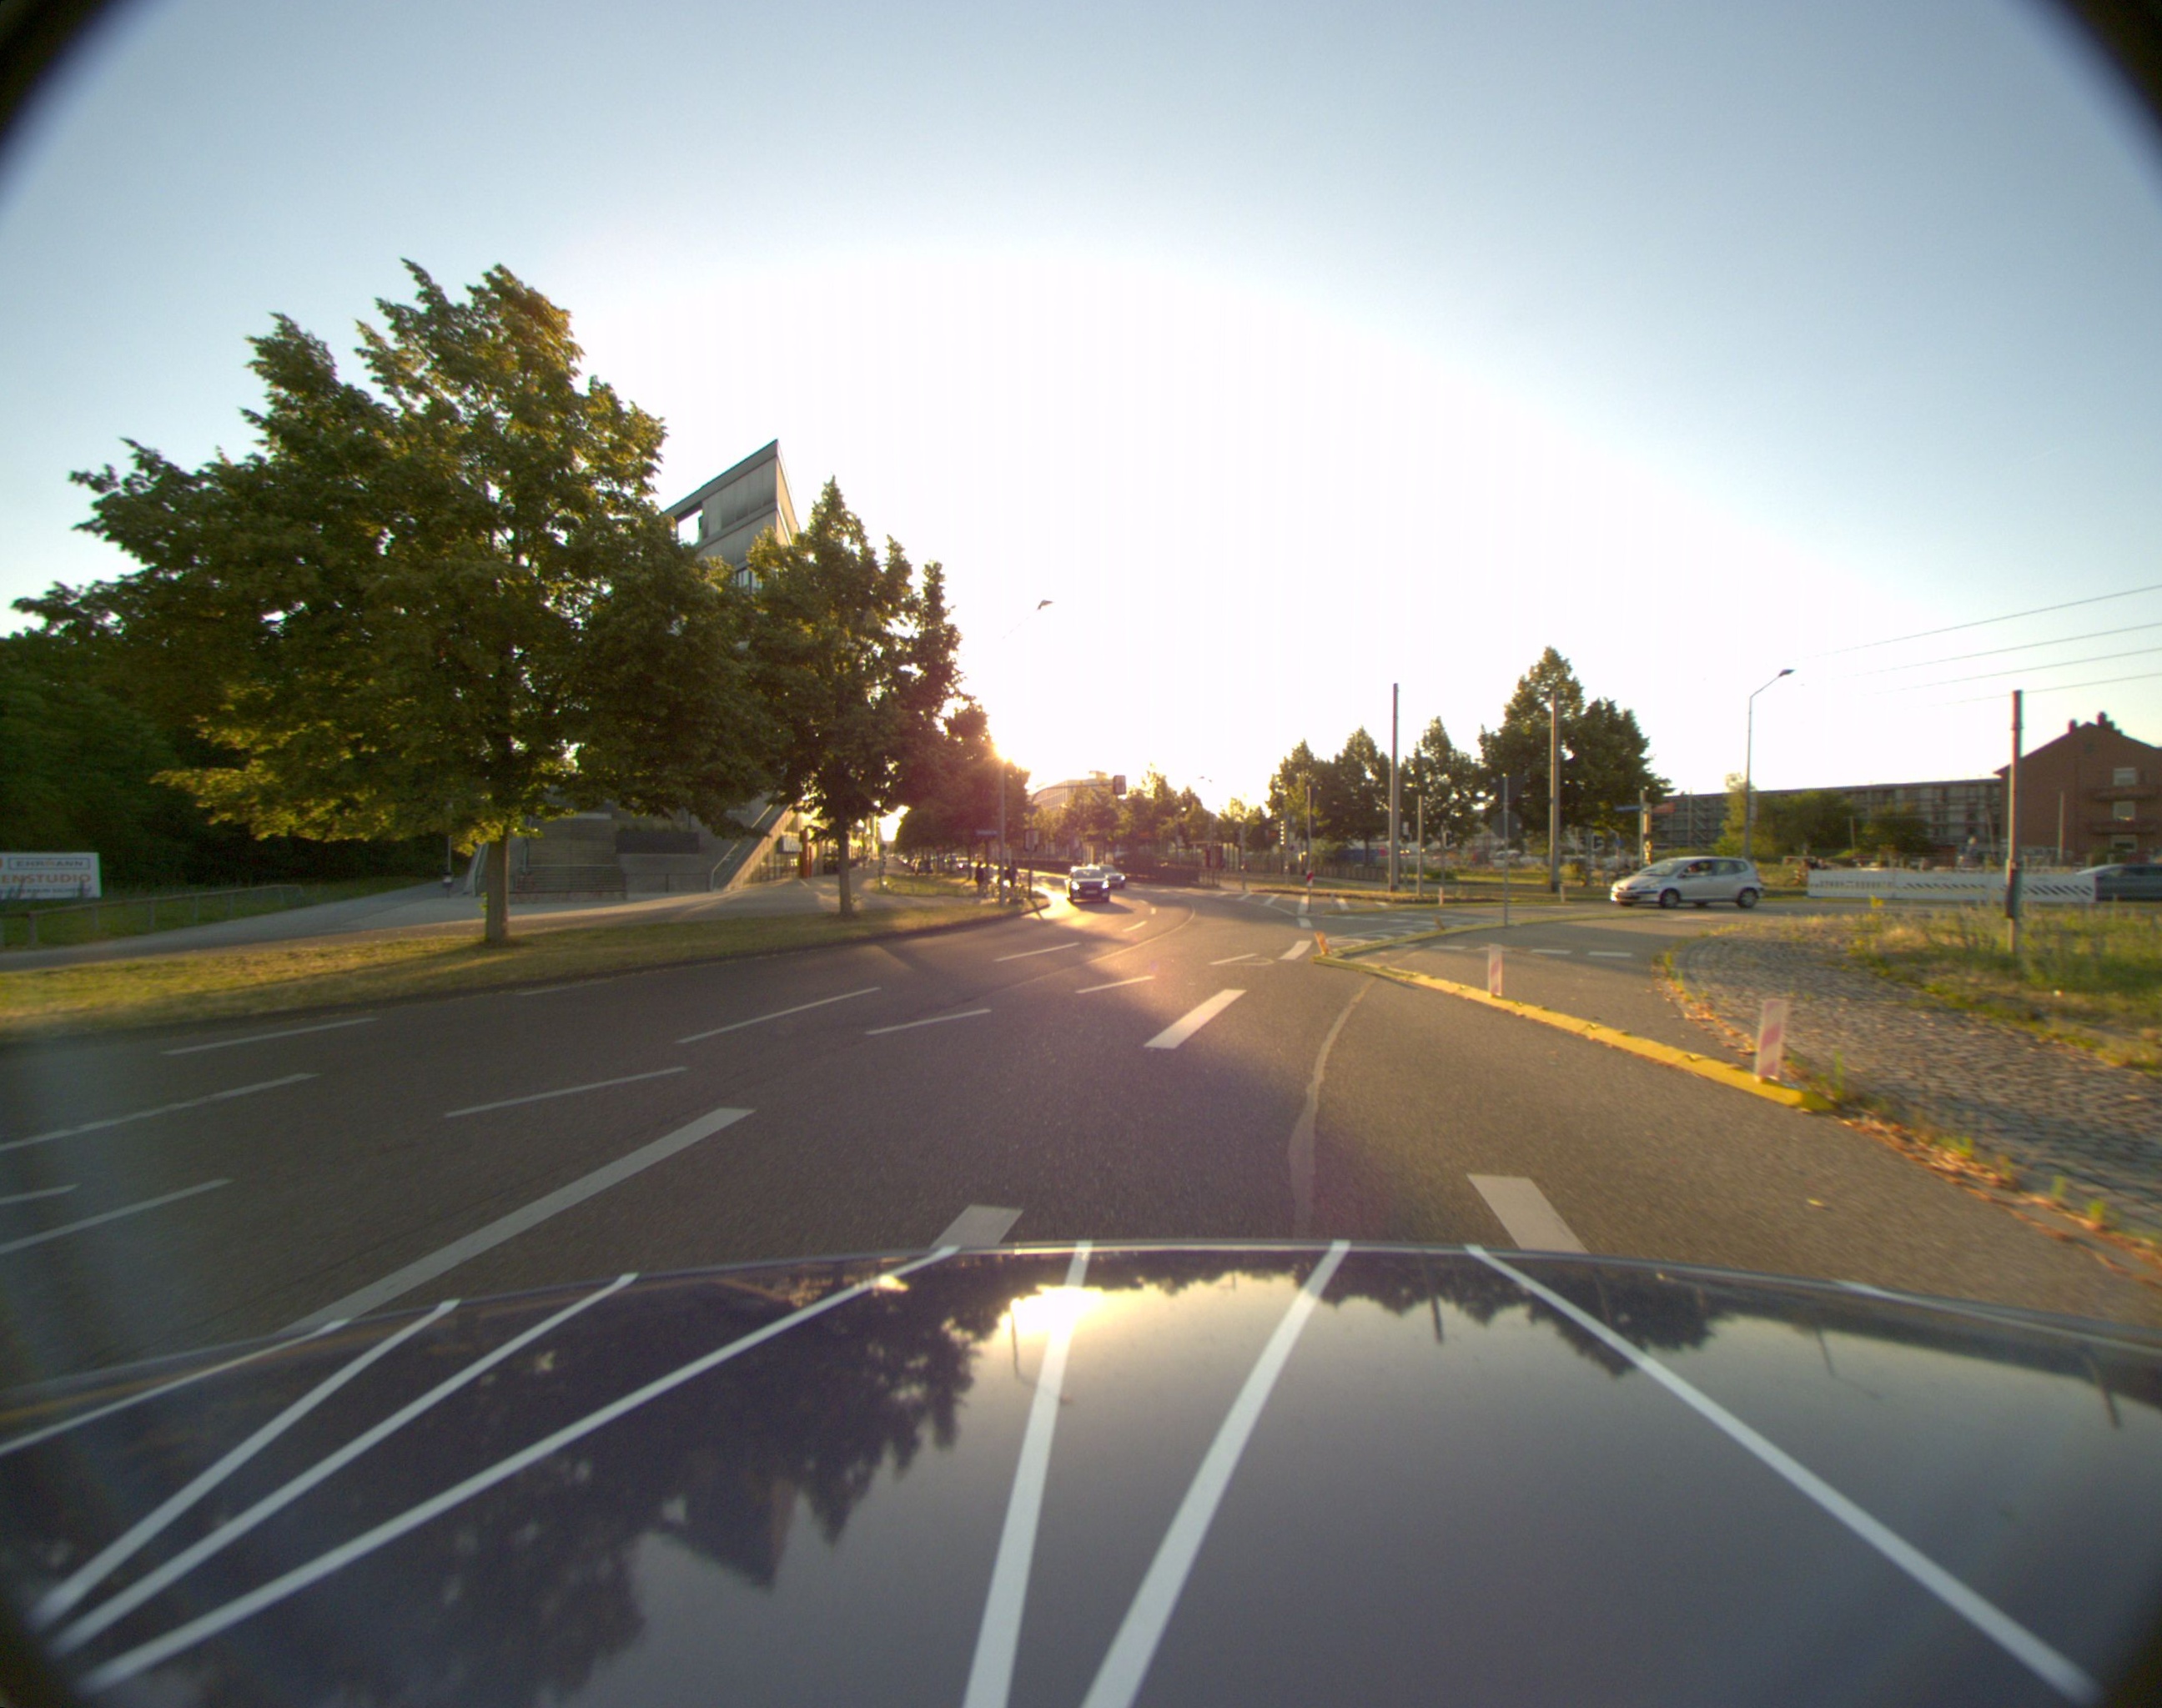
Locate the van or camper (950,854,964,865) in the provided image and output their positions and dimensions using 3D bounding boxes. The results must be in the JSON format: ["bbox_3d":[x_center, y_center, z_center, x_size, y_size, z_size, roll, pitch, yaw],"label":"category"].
[{"bbox_3d":[-24.150,1.026,147.880,2.001,1.946,5.321,0,1,-15],"label":"van or camper"}]

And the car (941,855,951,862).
[{"bbox_3d":[-32.504,1.050,183.231,1.896,1.613,3.994,-1,0,-17],"label":"car"}]

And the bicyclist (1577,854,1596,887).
[{"bbox_3d":[29.036,0.954,43.644,0.678,1.907,0.615,0,0,-11],"label":"bicyclist"}]

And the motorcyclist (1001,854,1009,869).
[{"bbox_3d":[-7.038,0.691,70.210,0.637,1.400,0.593,0,1,-16],"label":"motorcyclist"}]

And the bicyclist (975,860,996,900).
[{"bbox_3d":[-3.975,1.082,31.713,0.685,1.638,0.682,-1,0,-23],"label":"bicyclist"}]

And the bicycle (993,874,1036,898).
[{"bbox_3d":[-2.973,1.433,33.962,1.863,1.016,0.437,0,0,-7],"label":"bicycle"}]

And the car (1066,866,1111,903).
[{"bbox_3d":[0.270,1.254,32.705,1.802,1.455,3.999,0,0,-1],"label":"car"}]

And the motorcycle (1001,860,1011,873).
[{"bbox_3d":[-6.932,1.143,69.859,0.558,1.094,2.157,-1,0,-15],"label":"motorcycle"}]

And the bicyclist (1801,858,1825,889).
[{"bbox_3d":[38.359,1.013,39.838,0.796,1.624,0.697,0,0,35],"label":"bicyclist"}]

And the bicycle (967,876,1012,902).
[{"bbox_3d":[-3.797,1.446,31.687,1.866,1.016,0.307,0,0,-24],"label":"bicycle"}]

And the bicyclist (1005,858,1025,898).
[{"bbox_3d":[-2.947,1.043,33.727,0.849,1.745,0.803,0,0,-7],"label":"bicyclist"}]

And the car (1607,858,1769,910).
[{"bbox_3d":[17.959,0.860,22.561,3.710,1.457,1.606,0,0,-6],"label":"car"}]

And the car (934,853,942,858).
[{"bbox_3d":[-38.974,0.479,206.712,1.804,1.455,3.995,0,0,-14],"label":"car"}]

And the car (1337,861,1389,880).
[{"bbox_3d":[21.342,1.229,57.651,1.834,1.324,3.996,0,0,-12],"label":"car"}]

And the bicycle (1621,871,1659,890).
[{"bbox_3d":[30.358,1.450,41.248,1.844,0.975,0.536,0,0,-11],"label":"bicycle"}]

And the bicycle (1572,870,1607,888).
[{"bbox_3d":[29.221,1.431,43.676,1.844,0.975,0.549,0,0,-11],"label":"bicycle"}]

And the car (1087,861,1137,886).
[{"bbox_3d":[1.821,1.157,46.037,1.804,1.414,4.443,0,0,-14],"label":"car"}]

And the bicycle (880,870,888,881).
[{"bbox_3d":[-16.499,1.832,63.763,0.550,0.846,2.642,0,0,-12],"label":"bicycle"}]

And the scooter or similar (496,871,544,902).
[{"bbox_3d":[-22.404,1.285,30.328,1.576,1.213,0.366,0,0,-4],"label":"scooter or similar"}]

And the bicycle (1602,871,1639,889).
[{"bbox_3d":[30.073,1.436,42.334,1.844,0.975,0.549,0,0,-11],"label":"bicycle"}]

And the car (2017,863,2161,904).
[{"bbox_3d":[37.621,1.026,27.375,4.638,1.407,1.935,0,0,40],"label":"car"}]

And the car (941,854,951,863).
[{"bbox_3d":[-30.511,1.010,171.466,1.721,1.827,3.994,-1,0,-18],"label":"car"}]

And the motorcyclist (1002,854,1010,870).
[{"bbox_3d":[-6.852,0.732,69.579,0.637,1.408,0.714,0,1,-16],"label":"motorcyclist"}]

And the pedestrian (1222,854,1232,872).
[{"bbox_3d":[13.344,0.836,69.471,0.709,1.623,0.446,0,0,-16],"label":"pedestrian"}]

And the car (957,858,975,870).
[{"bbox_3d":[-14.906,1.290,98.620,1.893,1.472,4.045,0,1,-14],"label":"car"}]

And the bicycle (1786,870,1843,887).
[{"bbox_3d":[38.503,1.266,39.910,2.129,0.841,0.513,0,0,35],"label":"bicycle"}]

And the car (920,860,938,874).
[{"bbox_3d":[-16.618,1.363,82.967,1.804,1.455,3.995,0,0,-14],"label":"car"}]

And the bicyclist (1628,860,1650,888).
[{"bbox_3d":[30.272,1.060,41.225,0.815,1.497,0.592,0,0,-11],"label":"bicyclist"}]

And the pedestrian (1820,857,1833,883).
[{"bbox_3d":[40.350,0.853,41.100,0.502,1.358,0.435,0,1,45],"label":"pedestrian"}]

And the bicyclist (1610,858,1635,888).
[{"bbox_3d":[30.123,1.068,42.287,0.815,1.630,0.814,0,0,-11],"label":"bicyclist"}]

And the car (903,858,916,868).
[{"bbox_3d":[-25.743,1.401,114.123,1.804,1.455,3.995,0,0,-14],"label":"car"}]

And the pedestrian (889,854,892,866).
[{"bbox_3d":[-31.965,0.970,127.624,0.539,2.002,0.526,-1,0,-15],"label":"pedestrian"}]

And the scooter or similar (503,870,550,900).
[{"bbox_3d":[-22.445,1.251,30.748,1.576,1.213,0.366,0,0,-4],"label":"scooter or similar"}]

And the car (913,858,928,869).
[{"bbox_3d":[-20.704,1.223,98.006,1.804,1.455,3.995,0,0,-14],"label":"car"}]
